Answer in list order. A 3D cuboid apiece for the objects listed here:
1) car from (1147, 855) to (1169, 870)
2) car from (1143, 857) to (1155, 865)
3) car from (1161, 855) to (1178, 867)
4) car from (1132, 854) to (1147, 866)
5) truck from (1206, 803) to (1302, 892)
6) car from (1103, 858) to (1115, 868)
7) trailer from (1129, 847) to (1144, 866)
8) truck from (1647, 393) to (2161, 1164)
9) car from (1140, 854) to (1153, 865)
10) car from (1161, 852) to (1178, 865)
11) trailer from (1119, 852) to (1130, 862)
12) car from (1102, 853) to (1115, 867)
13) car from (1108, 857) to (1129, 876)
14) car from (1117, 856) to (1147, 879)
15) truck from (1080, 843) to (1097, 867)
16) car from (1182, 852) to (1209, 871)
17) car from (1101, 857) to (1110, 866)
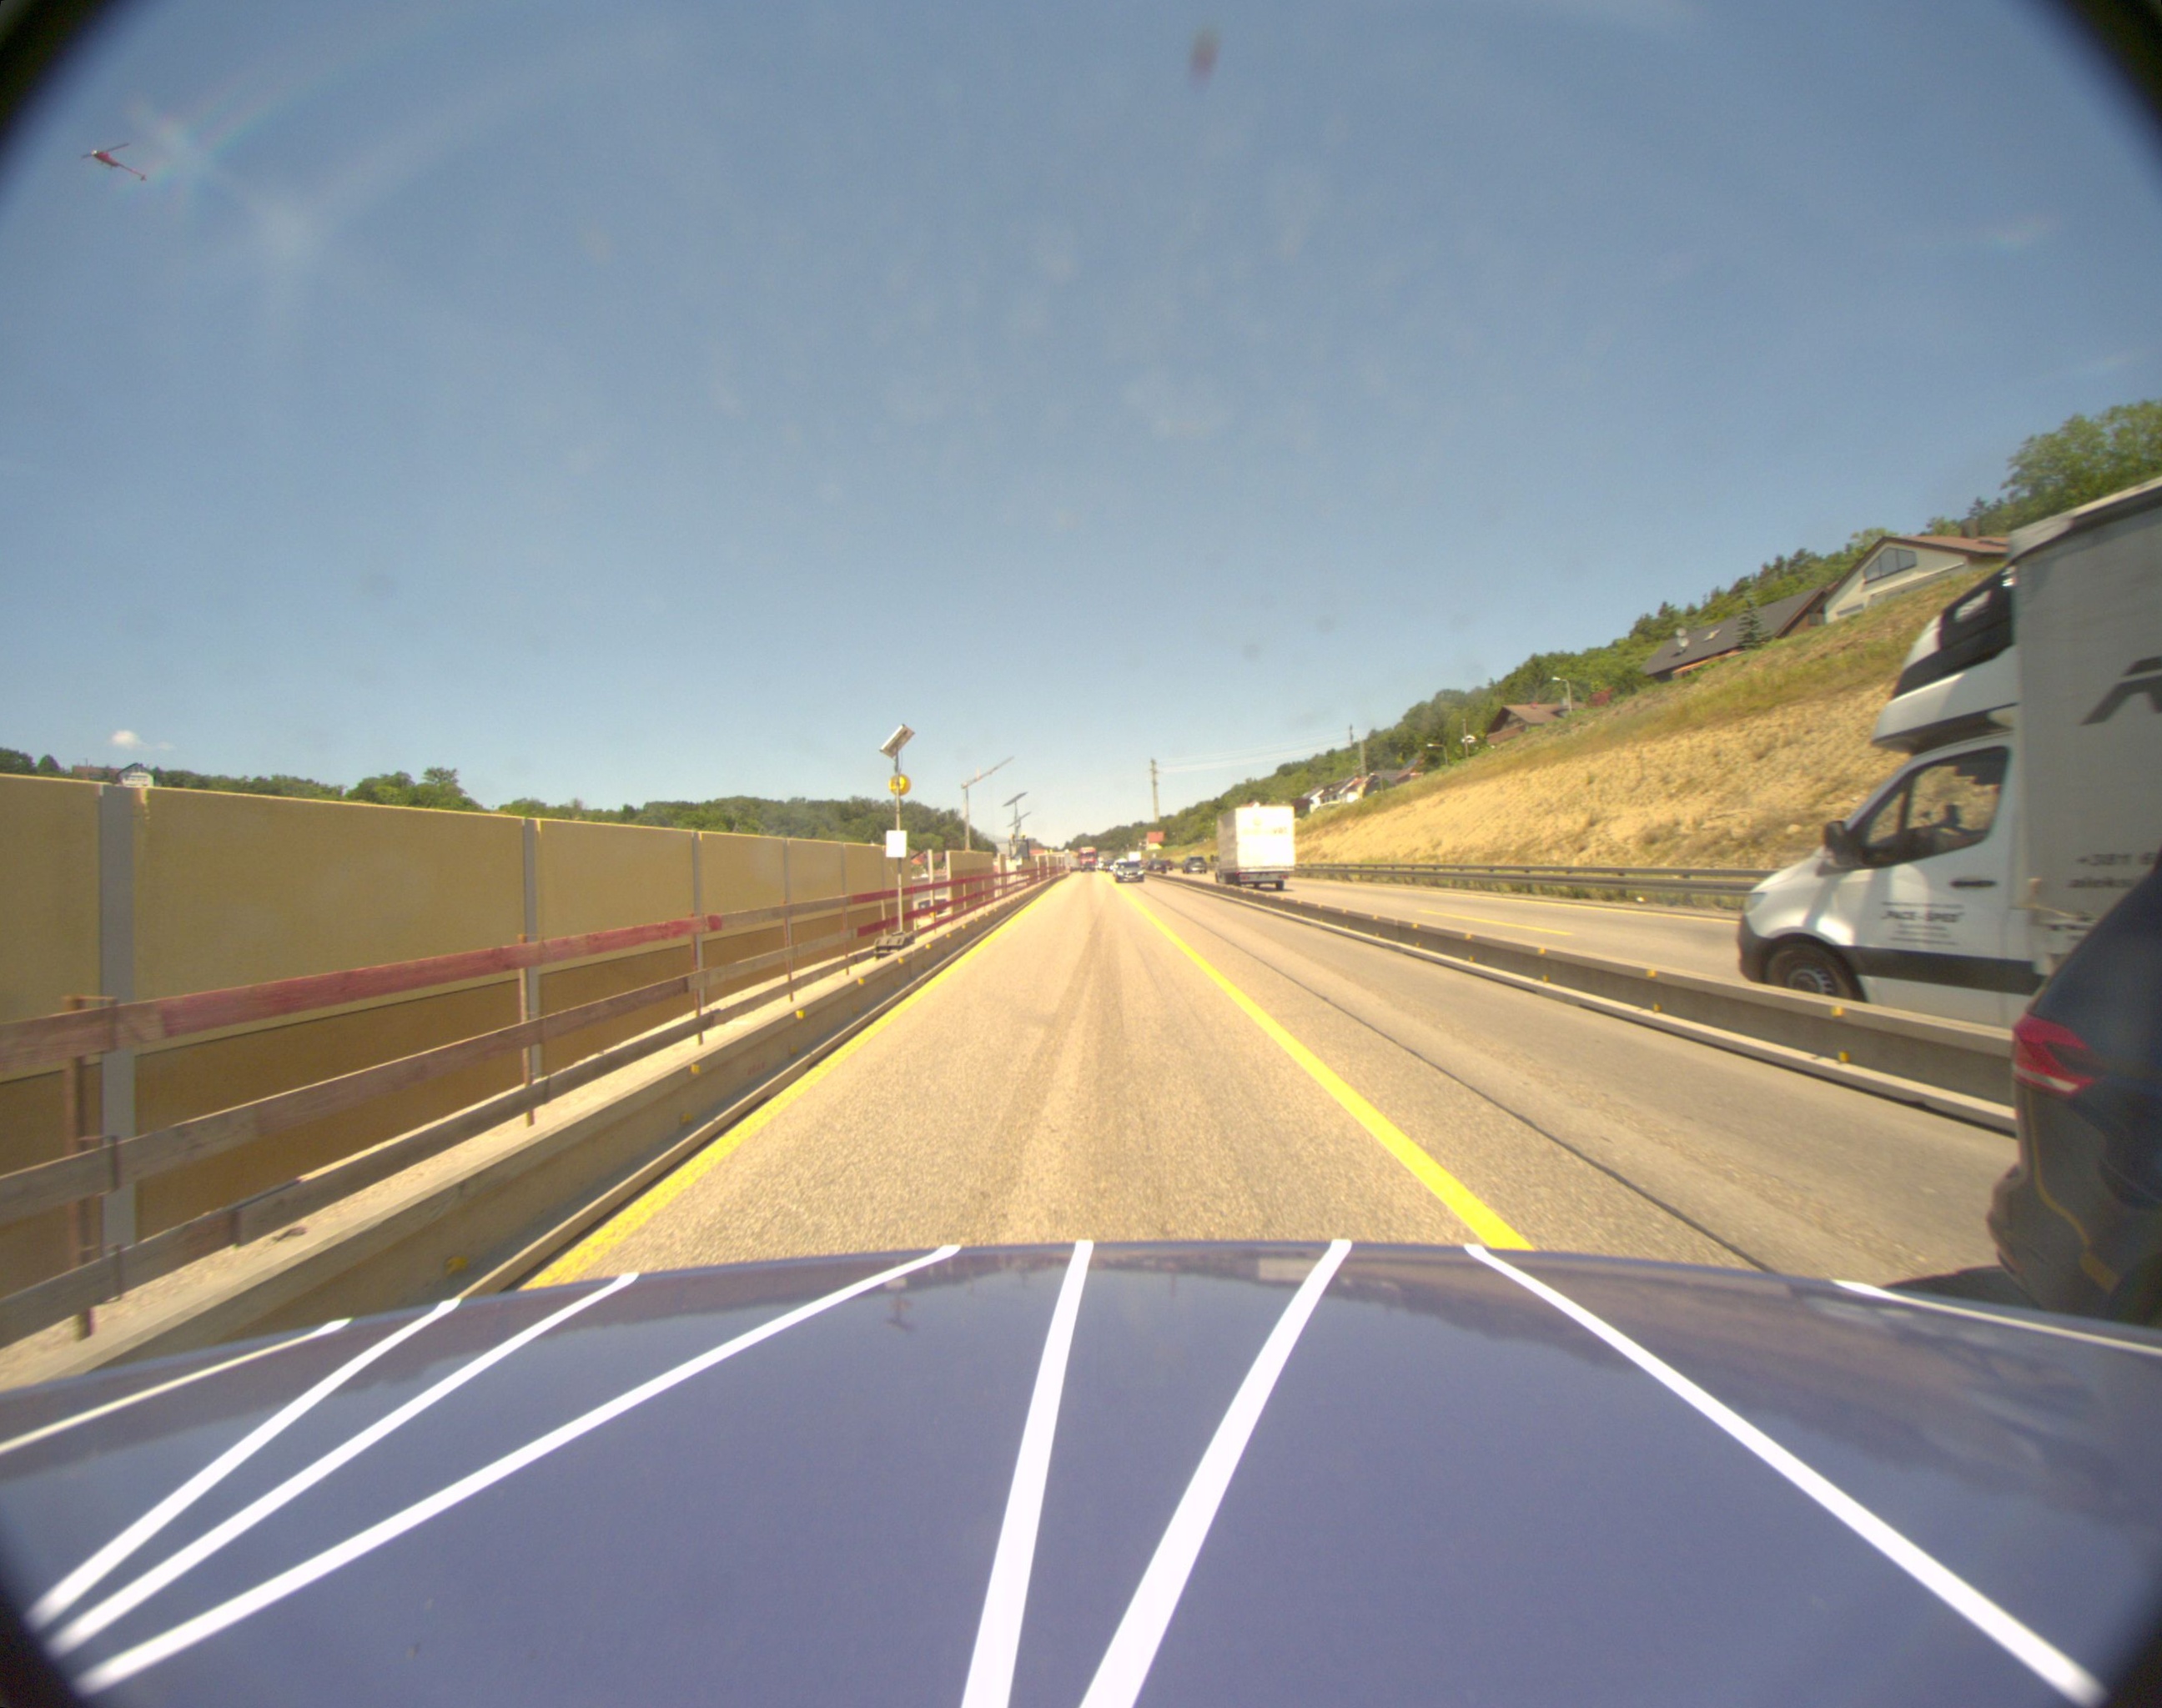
[{"bbox_3d":[7.888,0.897,78.044,1.801,1.419,4.950,-2,0,1],"label":"car"},{"bbox_3d":[11.581,1.187,129.606,1.714,1.410,4.243,-2,0,1],"label":"car"},{"bbox_3d":[11.549,0.898,99.805,1.780,1.485,4.337,-2,-1,1],"label":"car"},{"bbox_3d":[8.677,0.863,112.620,1.849,1.655,4.688,-3,0,1],"label":"car"},{"bbox_3d":[7.321,-0.236,33.155,2.544,3.354,7.038,-3,0,1],"label":"truck"},{"bbox_3d":[4.517,1.484,122.659,1.780,1.485,4.337,-2,-1,1],"label":"car"},{"bbox_3d":[13.182,0.588,181.713,2.793,4.157,13.980,-2,0,1],"label":"trailer"},{"bbox_3d":[6.544,-0.395,3.303,2.596,3.736,7.358,-3,0,0],"label":"truck"},{"bbox_3d":[12.467,1.059,144.319,2.043,1.915,5.122,-1,0,0],"label":"car"},{"bbox_3d":[11.600,0.616,100.196,1.689,1.576,5.126,-3,0,1],"label":"car"},{"bbox_3d":[12.958,0.895,226.570,2.619,2.983,6.371,-2,-1,1],"label":"trailer"},{"bbox_3d":[3.766,0.864,104.267,1.780,1.727,4.337,-2,-1,1],"label":"car"},{"bbox_3d":[3.495,1.190,71.482,1.780,1.682,4.337,-2,-1,1],"label":"car"},{"bbox_3d":[3.383,0.903,50.837,1.780,1.447,4.337,-2,-1,1],"label":"car"},{"bbox_3d":[1.343,0.249,126.664,2.605,3.703,10.538,-2,-1,1],"label":"truck"},{"bbox_3d":[10.913,0.720,72.421,1.858,1.662,4.668,-2,0,1],"label":"car"},{"bbox_3d":[4.648,1.413,144.586,1.780,1.485,4.337,-2,-1,1],"label":"car"}]
